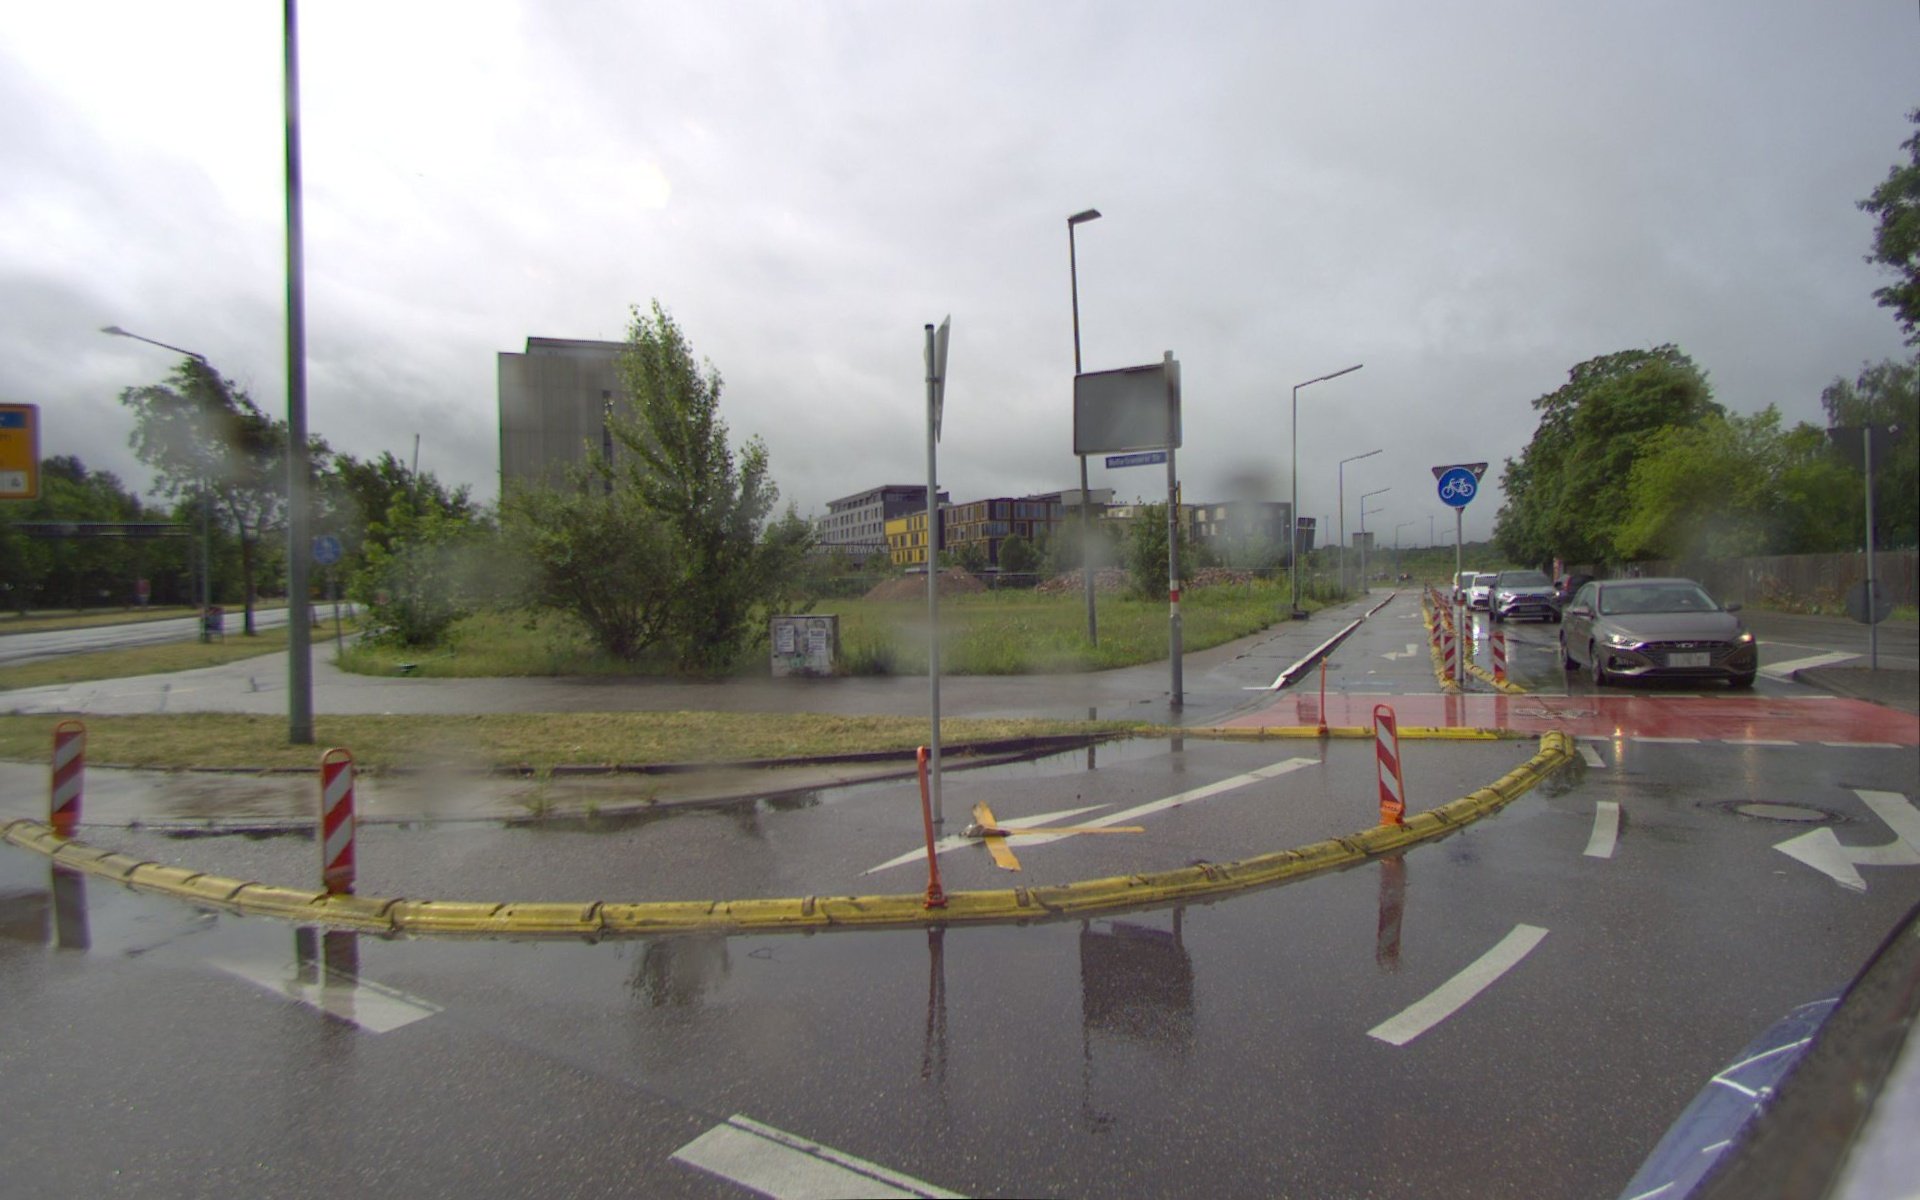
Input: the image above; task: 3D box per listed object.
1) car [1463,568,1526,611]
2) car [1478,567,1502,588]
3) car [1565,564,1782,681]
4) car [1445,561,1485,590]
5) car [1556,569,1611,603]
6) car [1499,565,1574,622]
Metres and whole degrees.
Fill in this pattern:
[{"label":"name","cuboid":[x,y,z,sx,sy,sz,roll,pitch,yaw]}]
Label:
[{"label":"car","cuboid":[23.105,-0.474,43.911,1.853,1.684,4.451,-3,0,22]},{"label":"car","cuboid":[59.752,-2.528,114.193,1.976,2.364,3.972,-1,1,22]},{"label":"car","cuboid":[10.068,0.283,14.618,1.716,1.431,4.094,-2,0,24]},{"label":"car","cuboid":[32.814,-1.588,65.850,1.853,1.684,4.451,-3,0,22]},{"label":"car","cuboid":[29.905,-0.689,48.612,1.614,1.552,3.434,1,1,21]},{"label":"car","cuboid":[18.473,-0.230,32.587,1.858,1.684,4.441,-2,0,27]}]
